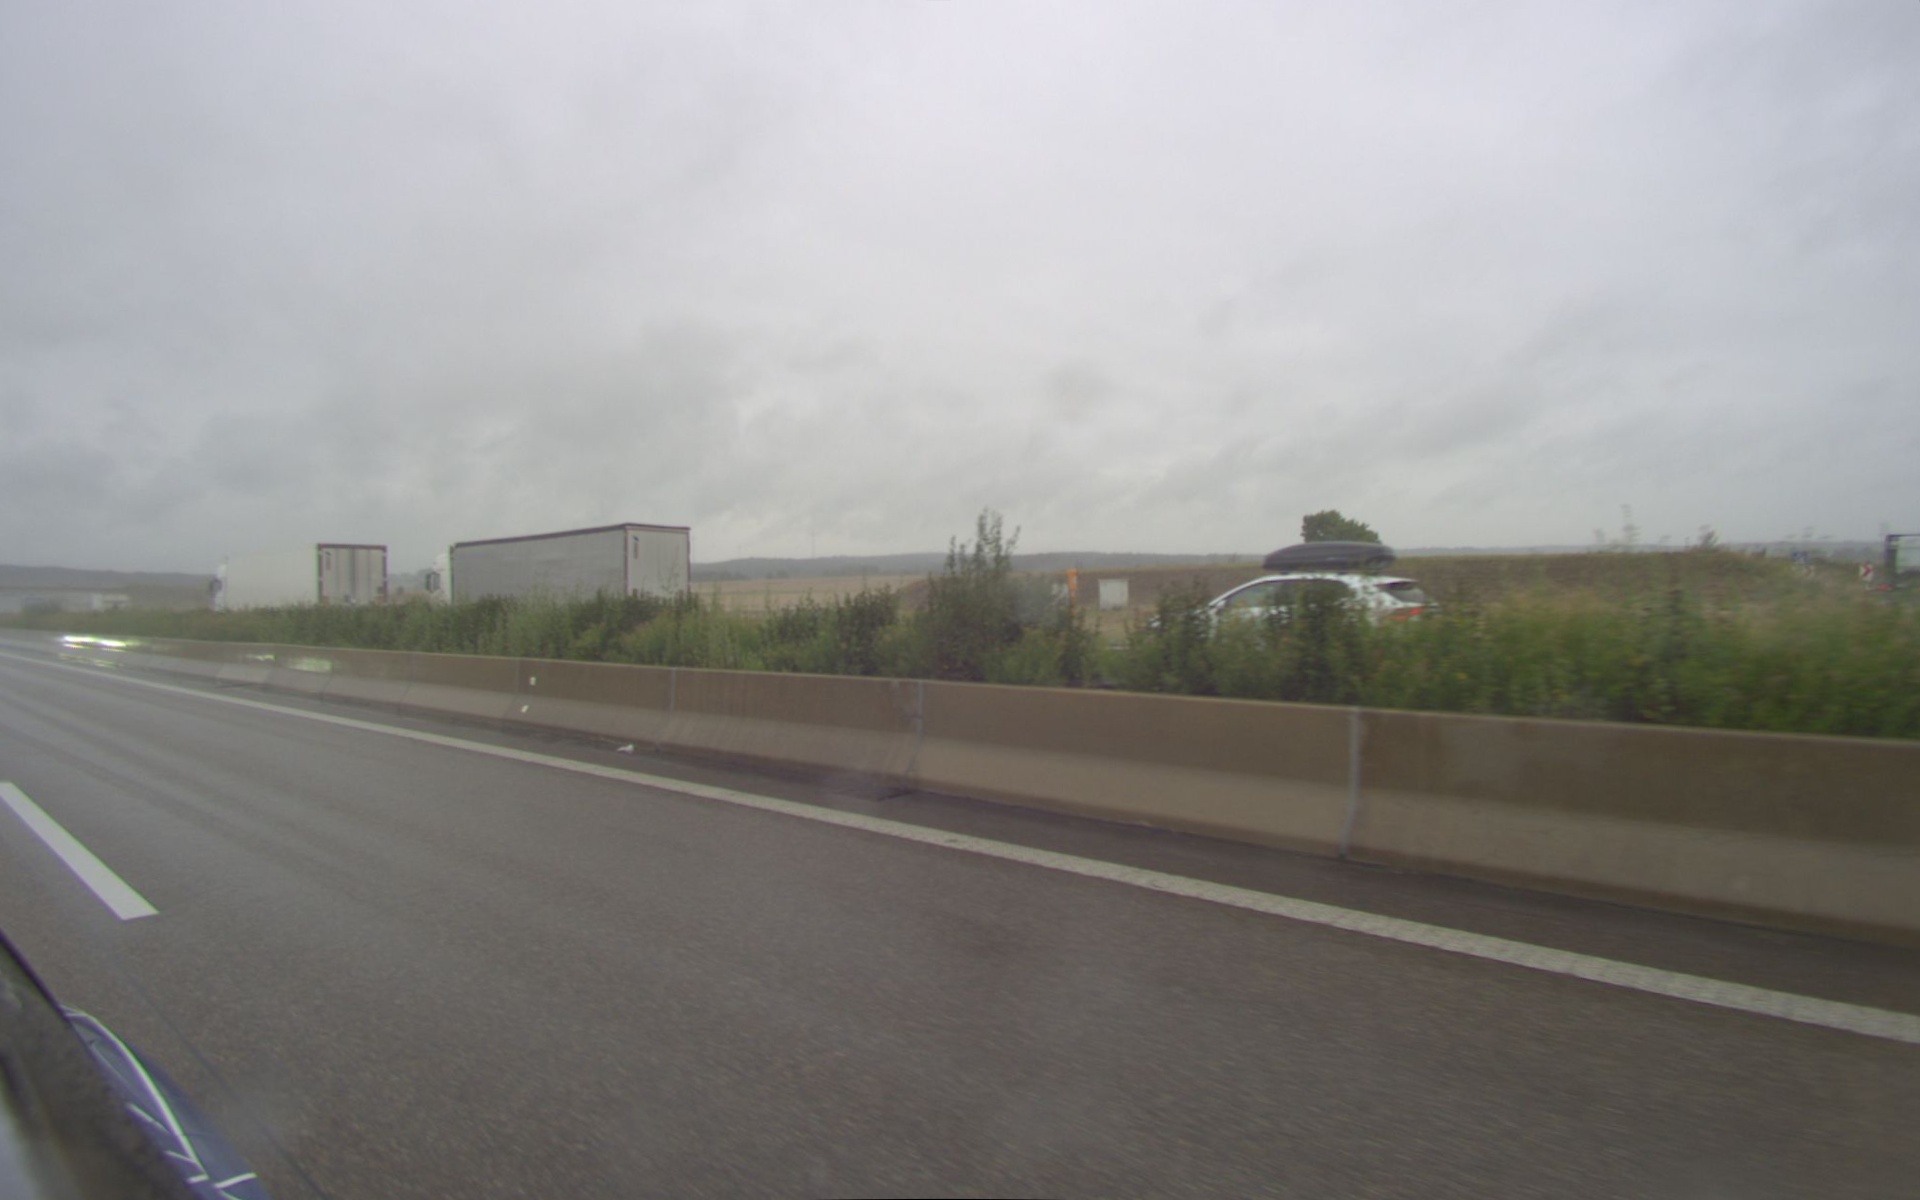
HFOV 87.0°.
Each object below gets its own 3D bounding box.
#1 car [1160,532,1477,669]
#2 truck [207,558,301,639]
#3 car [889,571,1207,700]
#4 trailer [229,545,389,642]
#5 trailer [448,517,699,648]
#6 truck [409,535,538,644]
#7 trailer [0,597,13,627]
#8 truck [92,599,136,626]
[{"bbox_3d":[5.239,0.003,15.028,3.998,1.752,1.973,0,1,41],"label":"car"},{"bbox_3d":[-35.654,-0.085,51.091,4.817,3.876,2.731,-1,1,41],"label":"truck"},{"bbox_3d":[1.097,0.425,13.718,3.997,1.497,1.758,-1,1,40],"label":"car"},{"bbox_3d":[-29.768,-0.207,45.868,12.400,3.881,2.788,-1,1,42],"label":"trailer"},{"bbox_3d":[-15.068,-0.491,38.388,13.226,4.283,2.790,-1,0,40],"label":"trailer"},{"bbox_3d":[-20.801,-0.413,43.165,5.835,4.327,2.731,-1,0,40],"label":"truck"},{"bbox_3d":[-133.717,1.721,140.053,13.484,3.969,2.411,-1,1,41],"label":"trailer"},{"bbox_3d":[-98.204,1.434,117.420,8.280,2.930,2.789,0,1,42],"label":"truck"}]
